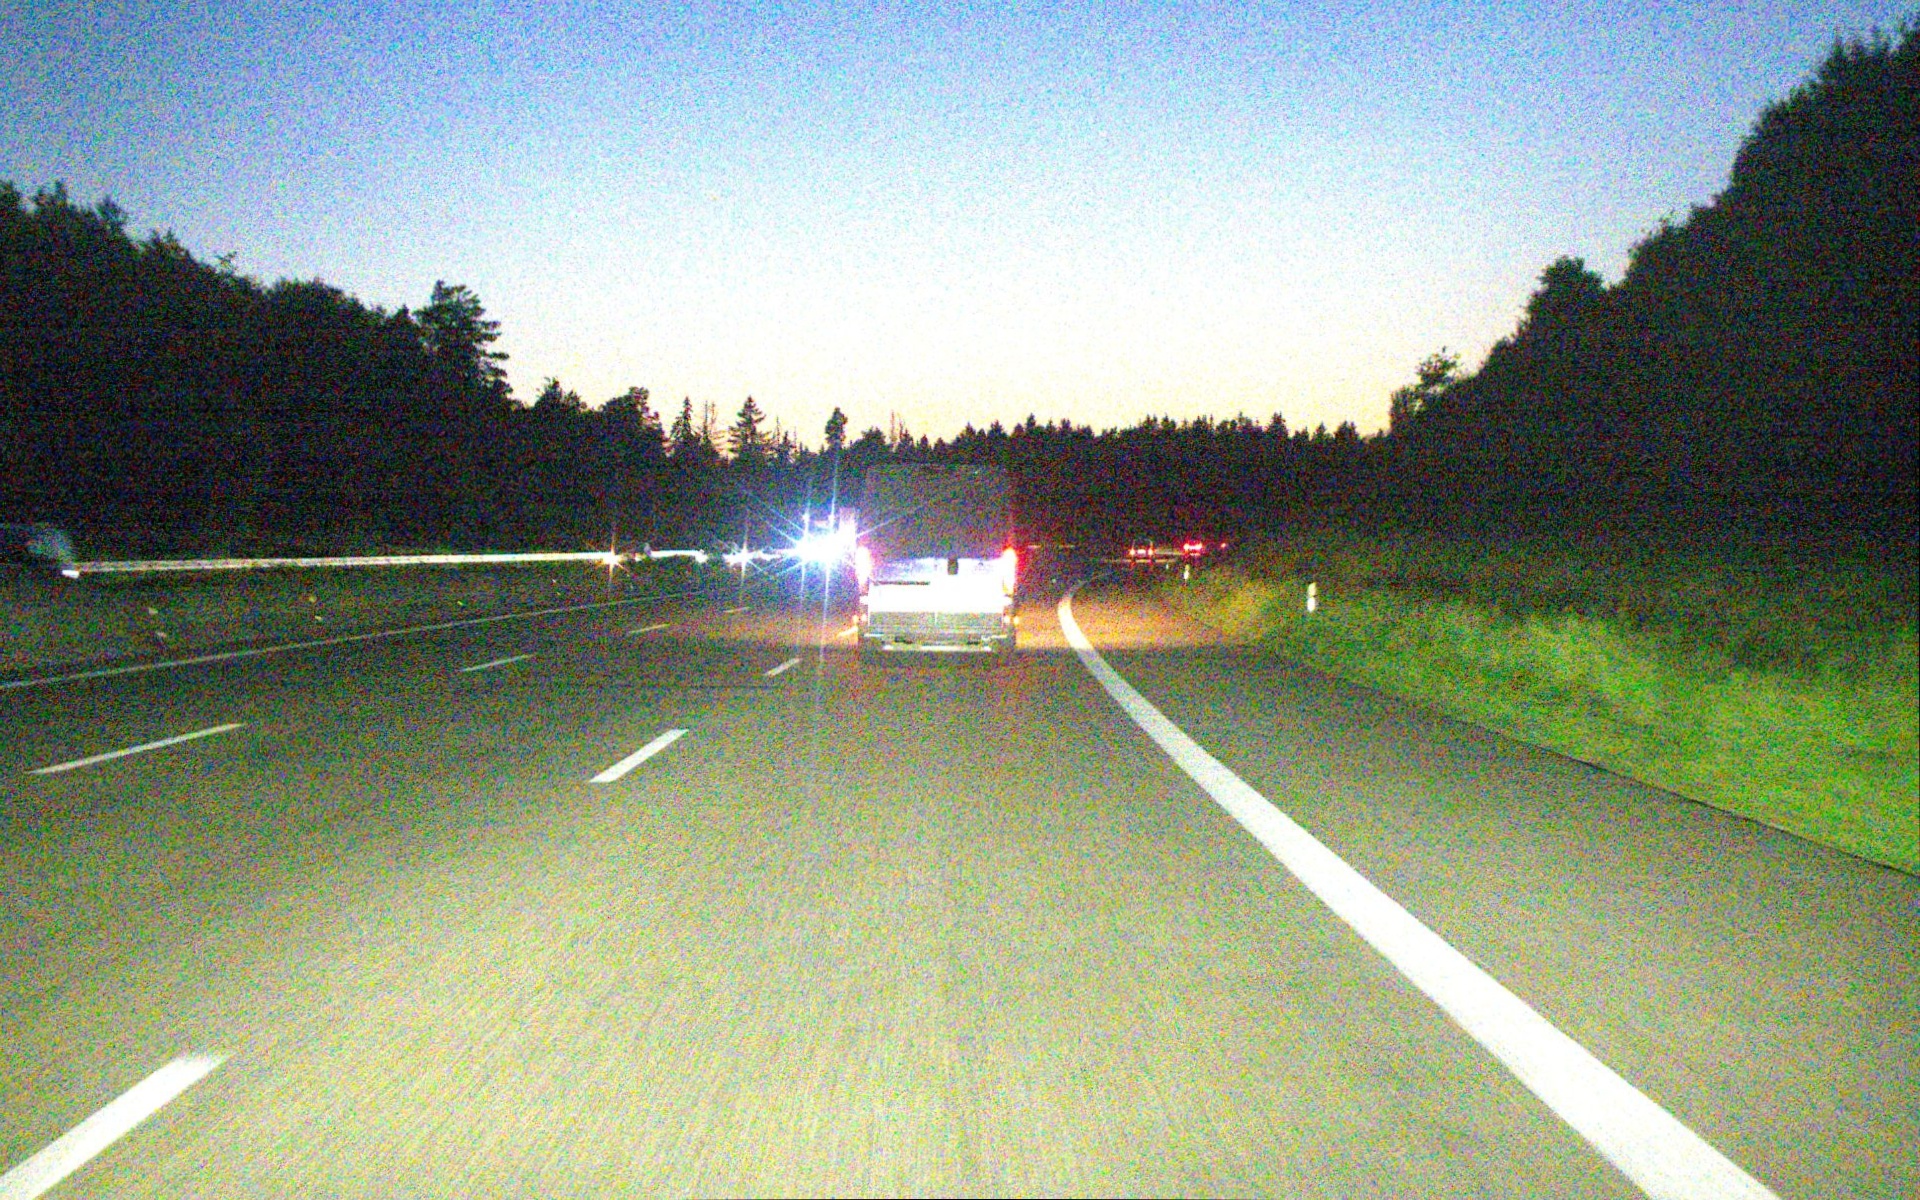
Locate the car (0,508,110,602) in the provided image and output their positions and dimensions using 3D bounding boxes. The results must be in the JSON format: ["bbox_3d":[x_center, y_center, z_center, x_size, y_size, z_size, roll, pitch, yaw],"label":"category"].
[{"bbox_3d":[-18.355,-0.884,67.869,1.993,1.780,4.399,0,1,1],"label":"car"}]

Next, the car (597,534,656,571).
[{"bbox_3d":[-15.470,-2.192,159.513,1.994,1.644,4.399,0,1,4],"label":"car"}]

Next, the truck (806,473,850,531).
[{"bbox_3d":[-9.822,-7.307,256.420,2.714,4.184,5.419,0,1,4],"label":"truck"}]

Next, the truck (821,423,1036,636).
[{"bbox_3d":[-0.387,-0.919,46.775,2.630,2.615,8.685,0,1,0],"label":"truck"}]
